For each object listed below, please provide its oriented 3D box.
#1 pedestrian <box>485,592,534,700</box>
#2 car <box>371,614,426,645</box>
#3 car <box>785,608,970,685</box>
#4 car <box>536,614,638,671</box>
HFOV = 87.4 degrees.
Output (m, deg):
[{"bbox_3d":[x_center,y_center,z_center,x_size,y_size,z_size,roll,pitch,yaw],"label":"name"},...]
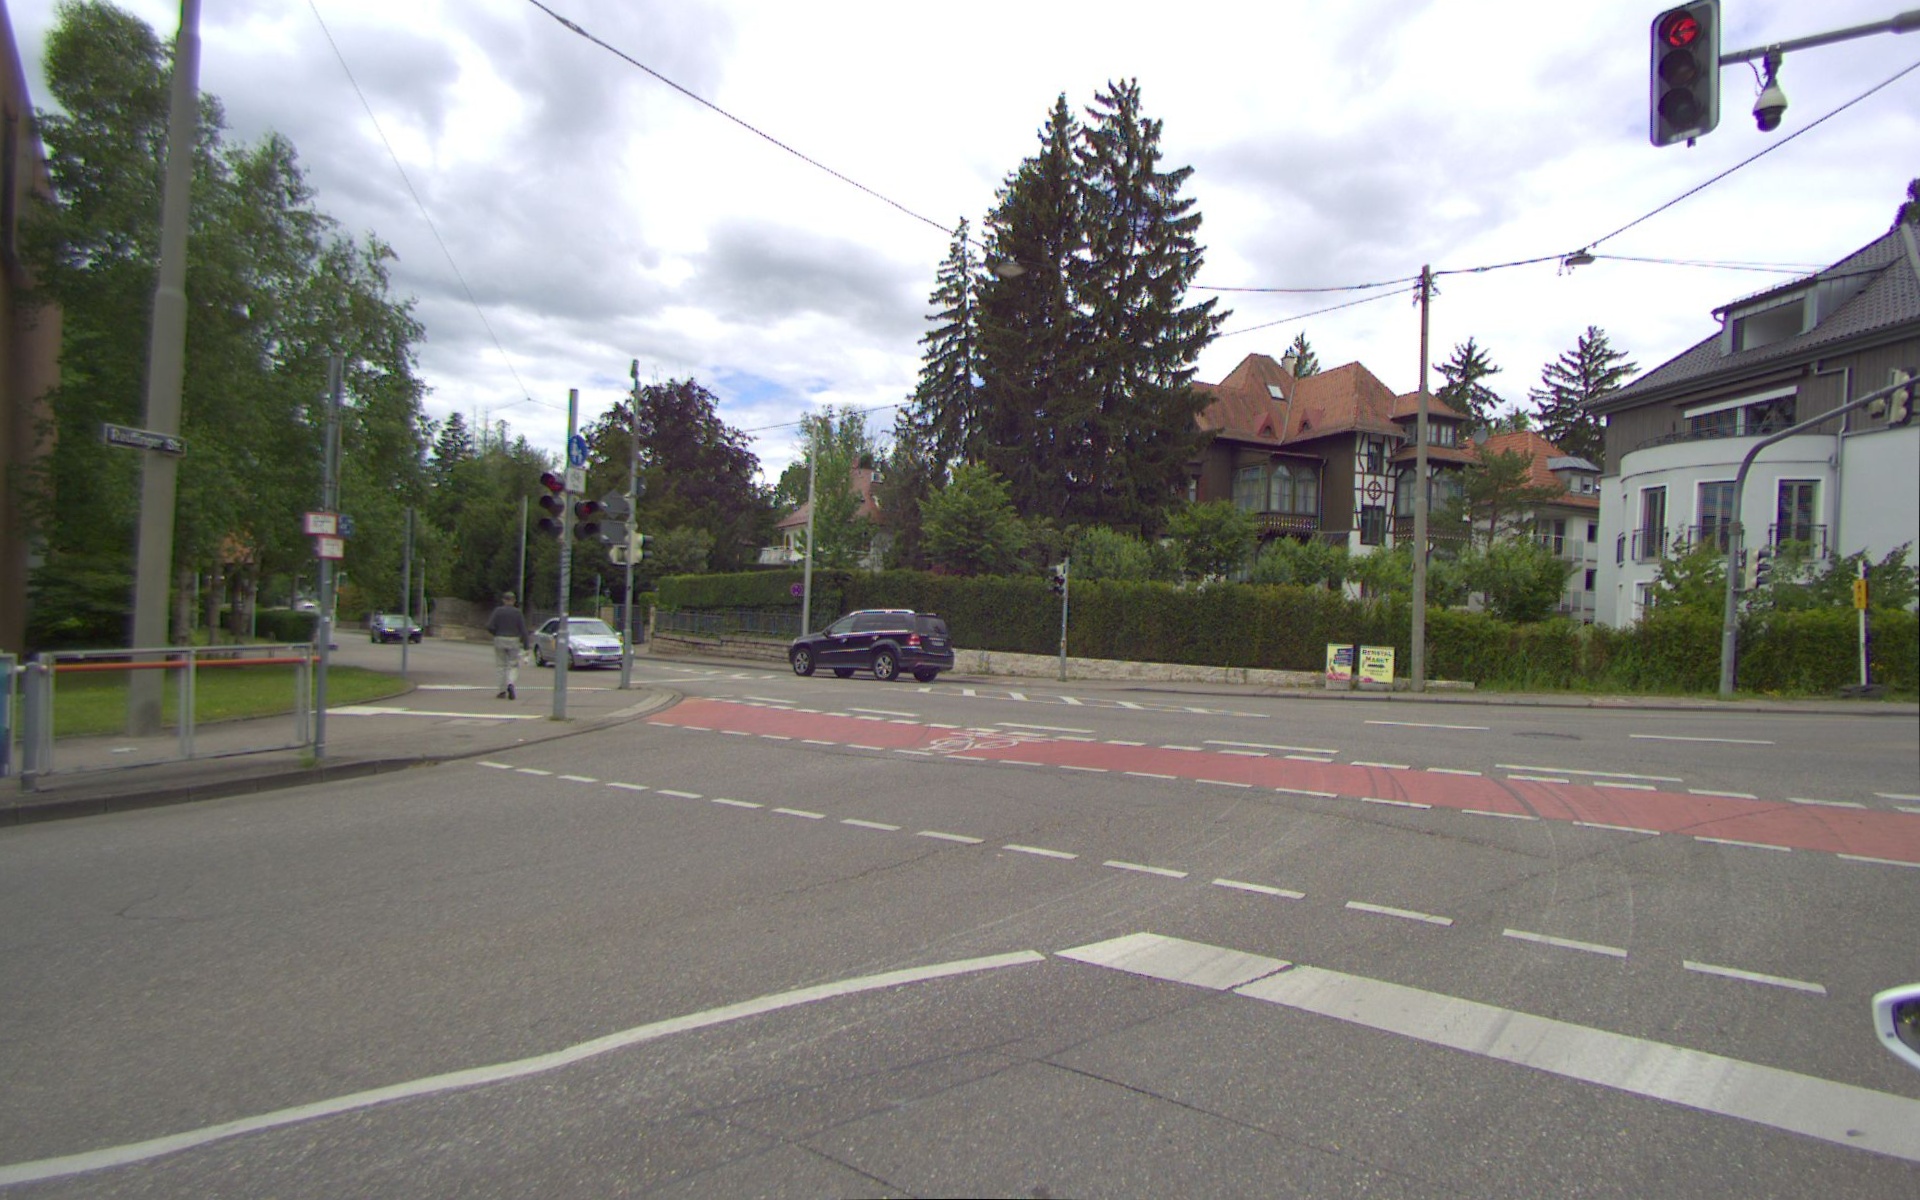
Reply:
[{"bbox_3d":[-7.116,0.716,15.849,0.675,1.655,0.735,0,-1,-27],"label":"pedestrian"},{"bbox_3d":[-29.223,1.535,52.241,1.816,1.556,3.955,2,-2,-39],"label":"car"},{"bbox_3d":[-2.329,1.212,27.416,5.061,1.905,1.911,0,-2,38],"label":"car"},{"bbox_3d":[-10.719,1.151,28.686,1.693,1.432,4.382,1,0,-35],"label":"car"}]
